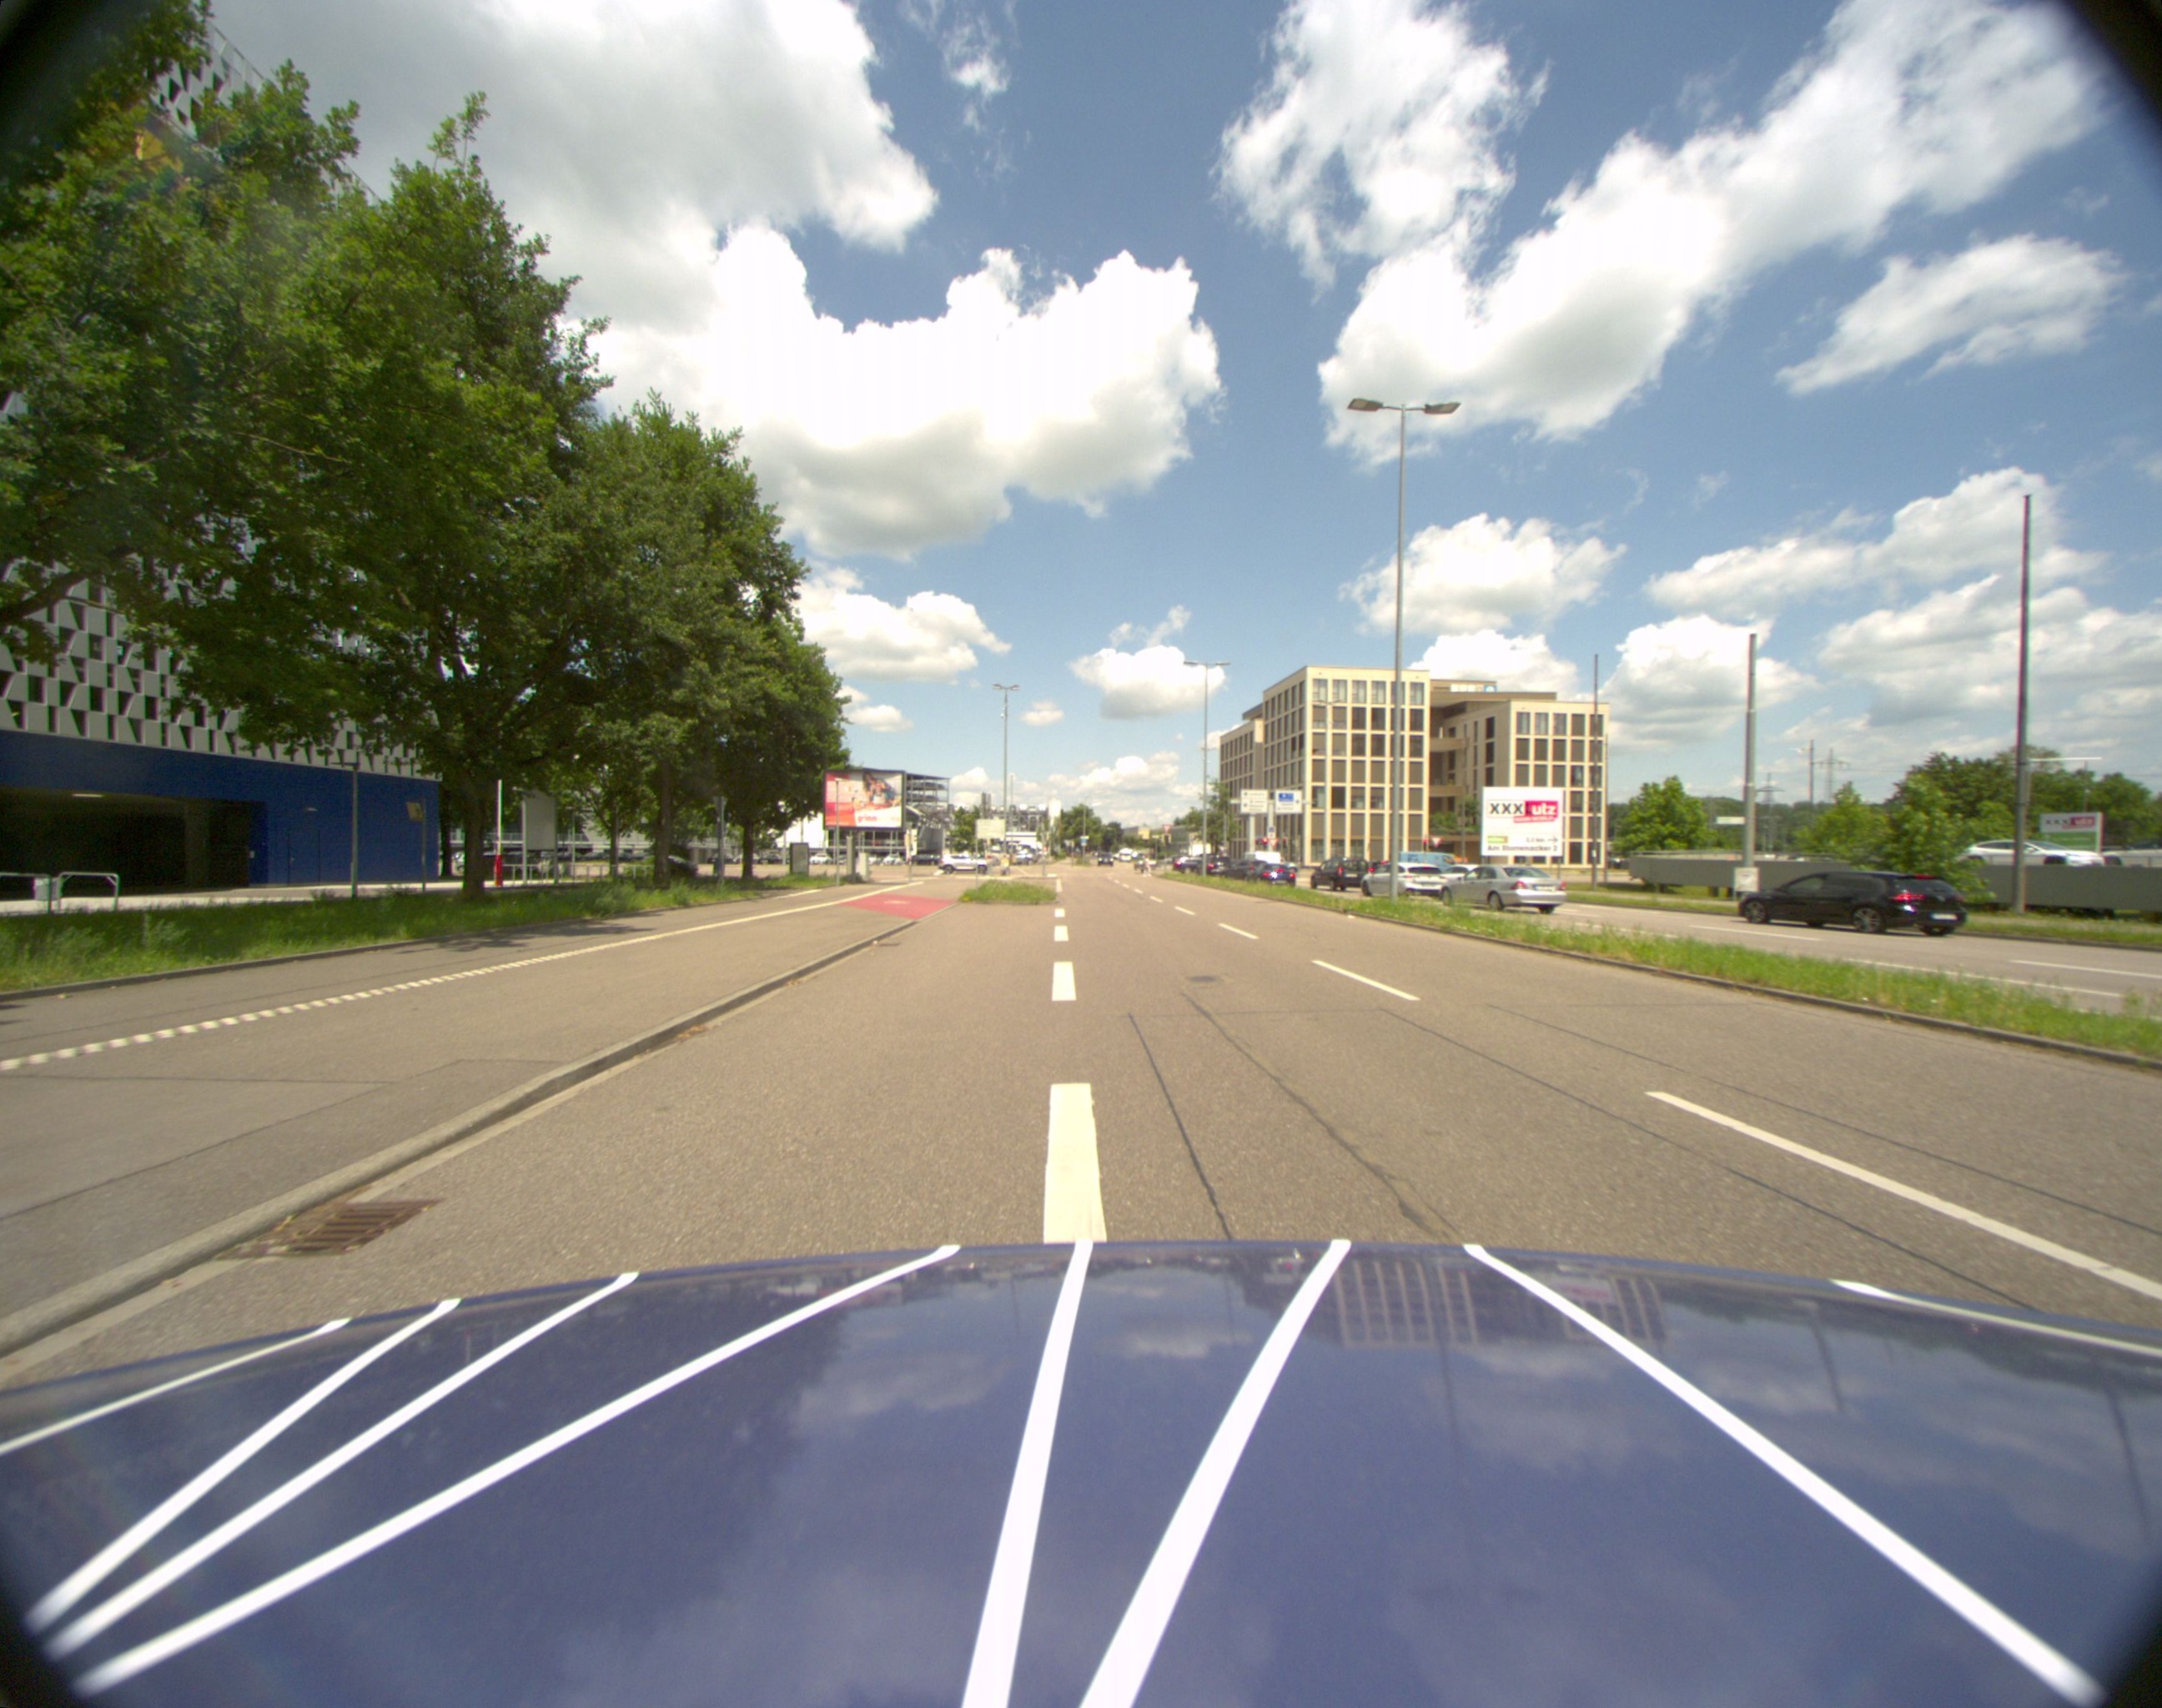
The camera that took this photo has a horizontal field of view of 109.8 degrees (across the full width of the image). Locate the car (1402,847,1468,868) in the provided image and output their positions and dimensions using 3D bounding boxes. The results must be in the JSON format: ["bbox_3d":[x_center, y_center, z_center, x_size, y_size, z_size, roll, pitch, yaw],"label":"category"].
[{"bbox_3d":[42.094,0.450,90.440,6.529,2.314,2.855,1,-2,2],"label":"car"}]

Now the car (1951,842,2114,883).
[{"bbox_3d":[45.886,0.391,36.838,1.855,1.822,4.672,1,0,-5],"label":"car"}]

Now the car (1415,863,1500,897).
[{"bbox_3d":[17.465,1.174,35.489,1.624,1.464,4.357,1,-1,-4],"label":"car"}]

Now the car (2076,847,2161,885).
[{"bbox_3d":[53.342,0.591,38.056,1.856,1.822,3.831,1,0,-7],"label":"car"}]

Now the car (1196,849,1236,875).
[{"bbox_3d":[8.909,0.556,50.413,1.796,1.635,4.170,1,-1,-1],"label":"car"}]

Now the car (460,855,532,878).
[{"bbox_3d":[-45.681,0.948,59.392,4.000,1.681,1.857,1,0,-7],"label":"car"}]

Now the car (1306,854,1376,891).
[{"bbox_3d":[12.536,0.864,36.936,1.796,1.691,4.226,1,-1,-2],"label":"car"}]

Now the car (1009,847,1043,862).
[{"bbox_3d":[-6.792,0.110,93.720,3.999,1.772,1.999,1,0,-5],"label":"car"}]

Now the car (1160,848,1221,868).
[{"bbox_3d":[9.251,0.340,64.601,4.821,1.571,1.998,-1,1,-6],"label":"car"}]

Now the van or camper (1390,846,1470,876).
[{"bbox_3d":[29.668,0.586,64.650,5.845,2.367,2.000,1,0,2],"label":"van or camper"}]

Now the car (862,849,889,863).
[{"bbox_3d":[-23.602,0.255,87.326,1.840,1.564,4.001,1,0,3],"label":"car"}]

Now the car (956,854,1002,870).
[{"bbox_3d":[-10.650,0.828,79.091,4.701,1.622,1.998,1,0,-10],"label":"car"}]

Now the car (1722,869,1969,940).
[{"bbox_3d":[18.213,1.128,18.419,1.624,1.461,4.114,1,0,-5],"label":"car"}]

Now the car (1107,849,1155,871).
[{"bbox_3d":[4.216,0.483,64.282,3.759,1.718,1.671,0,3,-6],"label":"car"}]

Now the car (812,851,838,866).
[{"bbox_3d":[-29.106,0.498,86.495,1.862,1.718,3.758,0,0,-3],"label":"car"}]

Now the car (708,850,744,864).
[{"bbox_3d":[-39.871,0.321,85.416,1.795,1.543,4.002,1,0,7],"label":"car"}]

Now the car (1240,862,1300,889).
[{"bbox_3d":[9.456,1.052,38.357,1.796,1.243,4.306,1,-1,-2],"label":"car"}]

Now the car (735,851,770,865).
[{"bbox_3d":[-36.974,0.446,85.616,1.795,1.543,4.002,1,0,7],"label":"car"}]

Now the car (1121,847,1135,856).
[{"bbox_3d":[8.996,-0.436,145.273,2.290,1.708,4.482,1,1,-1],"label":"car"}]

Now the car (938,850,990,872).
[{"bbox_3d":[-9.682,0.592,63.062,4.190,1.718,1.861,0,3,-6],"label":"car"}]

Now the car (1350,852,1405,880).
[{"bbox_3d":[18.476,0.734,47.581,1.796,1.691,3.870,1,-1,-2],"label":"car"}]

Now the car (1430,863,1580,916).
[{"bbox_3d":[12.752,1.005,23.259,1.796,1.409,4.673,2,0,-3],"label":"car"}]

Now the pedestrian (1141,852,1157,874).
[{"bbox_3d":[5.162,0.699,57.741,0.840,1.642,0.970,0,1,-18],"label":"pedestrian"}]

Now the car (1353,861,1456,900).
[{"bbox_3d":[12.551,0.982,29.830,1.796,1.393,4.844,1,-1,-2],"label":"car"}]

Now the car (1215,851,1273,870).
[{"bbox_3d":[14.660,0.573,68.285,4.754,1.718,1.862,0,1,-6],"label":"car"}]

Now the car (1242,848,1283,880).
[{"bbox_3d":[12.032,0.686,50.557,1.862,2.031,3.576,1,-1,-1],"label":"car"}]

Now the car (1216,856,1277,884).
[{"bbox_3d":[9.853,0.928,45.435,1.799,1.551,3.763,1,-1,-21],"label":"car"}]
